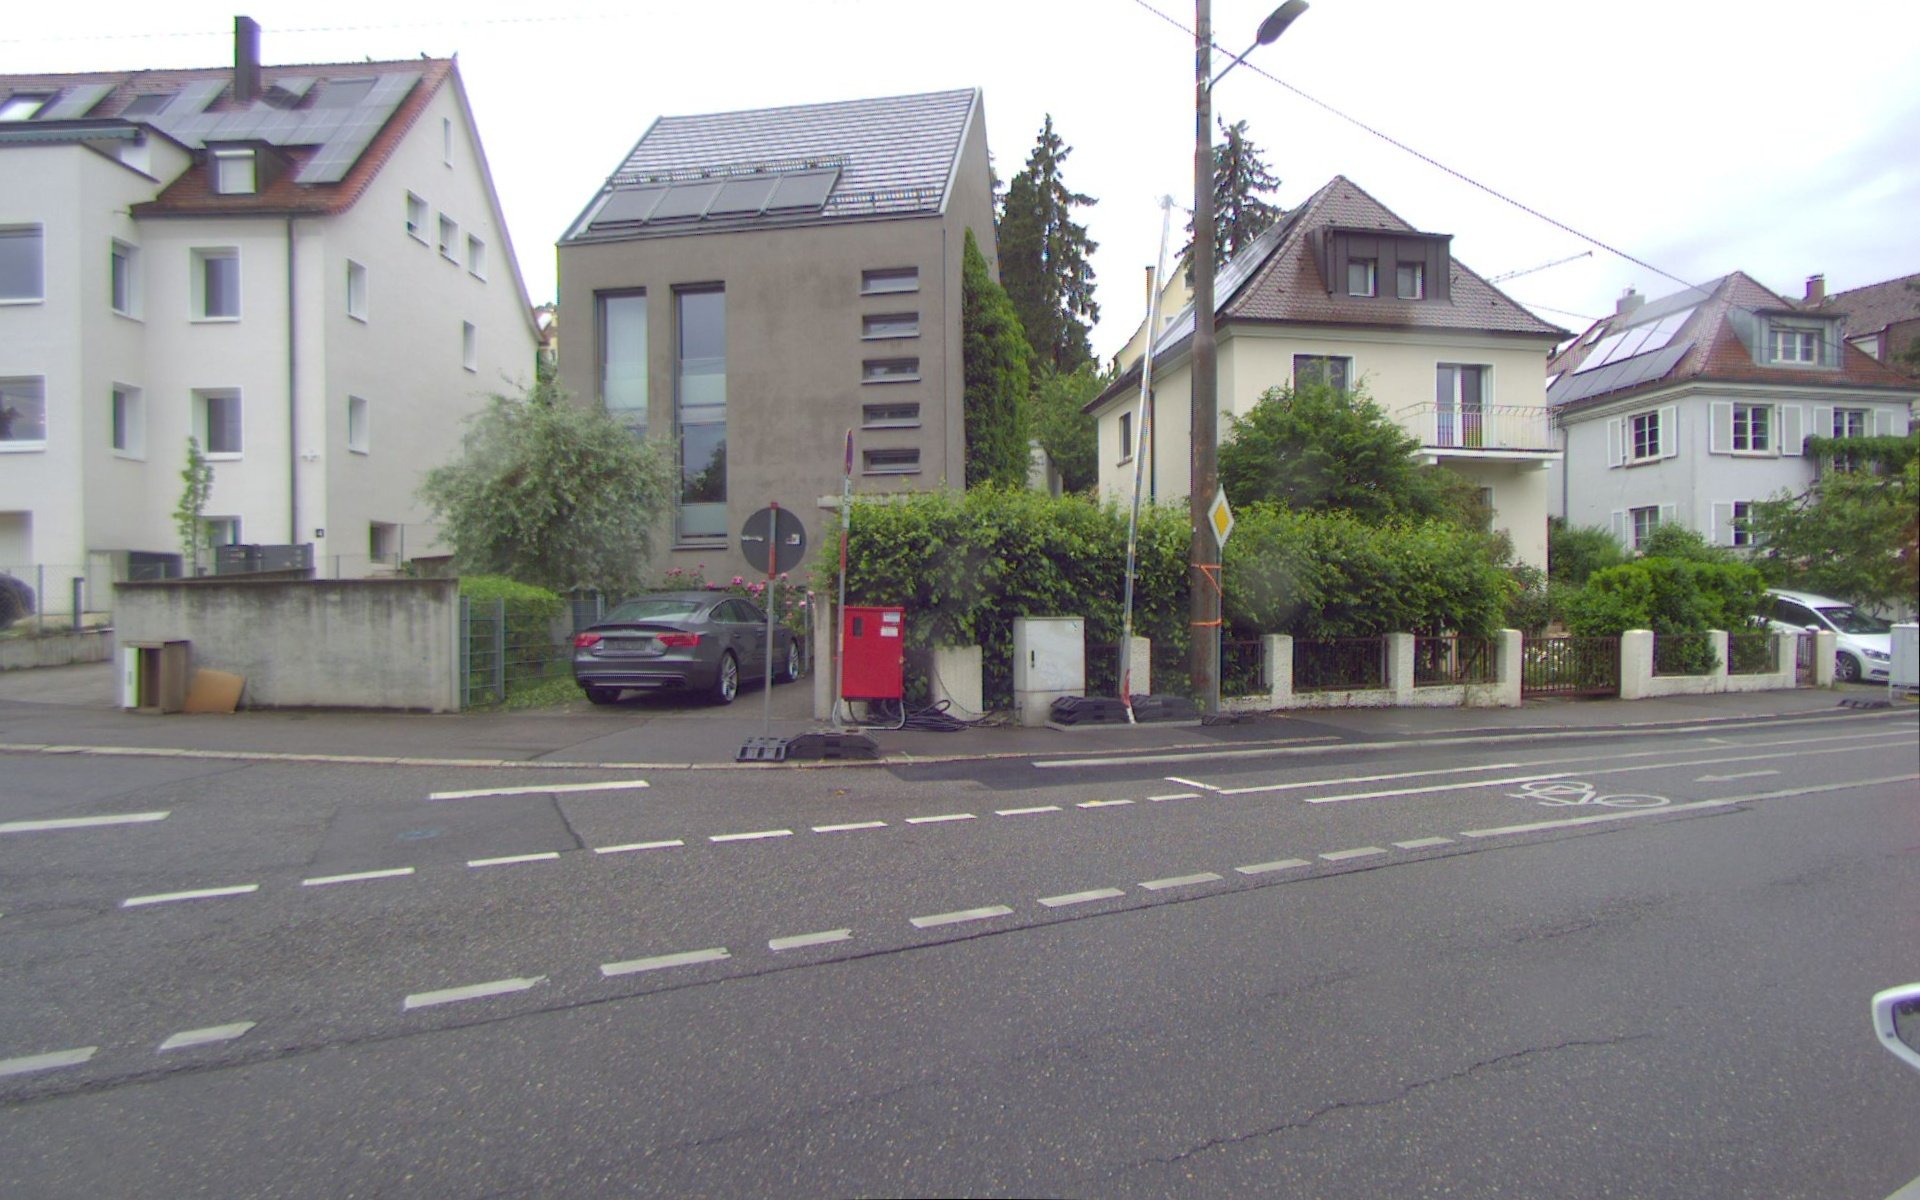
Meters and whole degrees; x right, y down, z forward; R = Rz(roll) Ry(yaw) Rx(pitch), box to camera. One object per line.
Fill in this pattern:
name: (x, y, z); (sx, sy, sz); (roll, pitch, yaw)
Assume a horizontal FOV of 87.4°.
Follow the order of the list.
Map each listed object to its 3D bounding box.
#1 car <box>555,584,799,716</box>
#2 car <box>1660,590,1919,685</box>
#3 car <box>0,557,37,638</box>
car: (-3.599, 0.555, 13.575); (1.740, 1.506, 4.002); (0, 1, 7)
car: (19.605, 0.806, 23.912); (1.870, 2.033, 4.628); (1, 0, -18)
car: (-16.722, 0.043, 15.168); (1.576, 1.298, 4.008); (2, 4, 6)
